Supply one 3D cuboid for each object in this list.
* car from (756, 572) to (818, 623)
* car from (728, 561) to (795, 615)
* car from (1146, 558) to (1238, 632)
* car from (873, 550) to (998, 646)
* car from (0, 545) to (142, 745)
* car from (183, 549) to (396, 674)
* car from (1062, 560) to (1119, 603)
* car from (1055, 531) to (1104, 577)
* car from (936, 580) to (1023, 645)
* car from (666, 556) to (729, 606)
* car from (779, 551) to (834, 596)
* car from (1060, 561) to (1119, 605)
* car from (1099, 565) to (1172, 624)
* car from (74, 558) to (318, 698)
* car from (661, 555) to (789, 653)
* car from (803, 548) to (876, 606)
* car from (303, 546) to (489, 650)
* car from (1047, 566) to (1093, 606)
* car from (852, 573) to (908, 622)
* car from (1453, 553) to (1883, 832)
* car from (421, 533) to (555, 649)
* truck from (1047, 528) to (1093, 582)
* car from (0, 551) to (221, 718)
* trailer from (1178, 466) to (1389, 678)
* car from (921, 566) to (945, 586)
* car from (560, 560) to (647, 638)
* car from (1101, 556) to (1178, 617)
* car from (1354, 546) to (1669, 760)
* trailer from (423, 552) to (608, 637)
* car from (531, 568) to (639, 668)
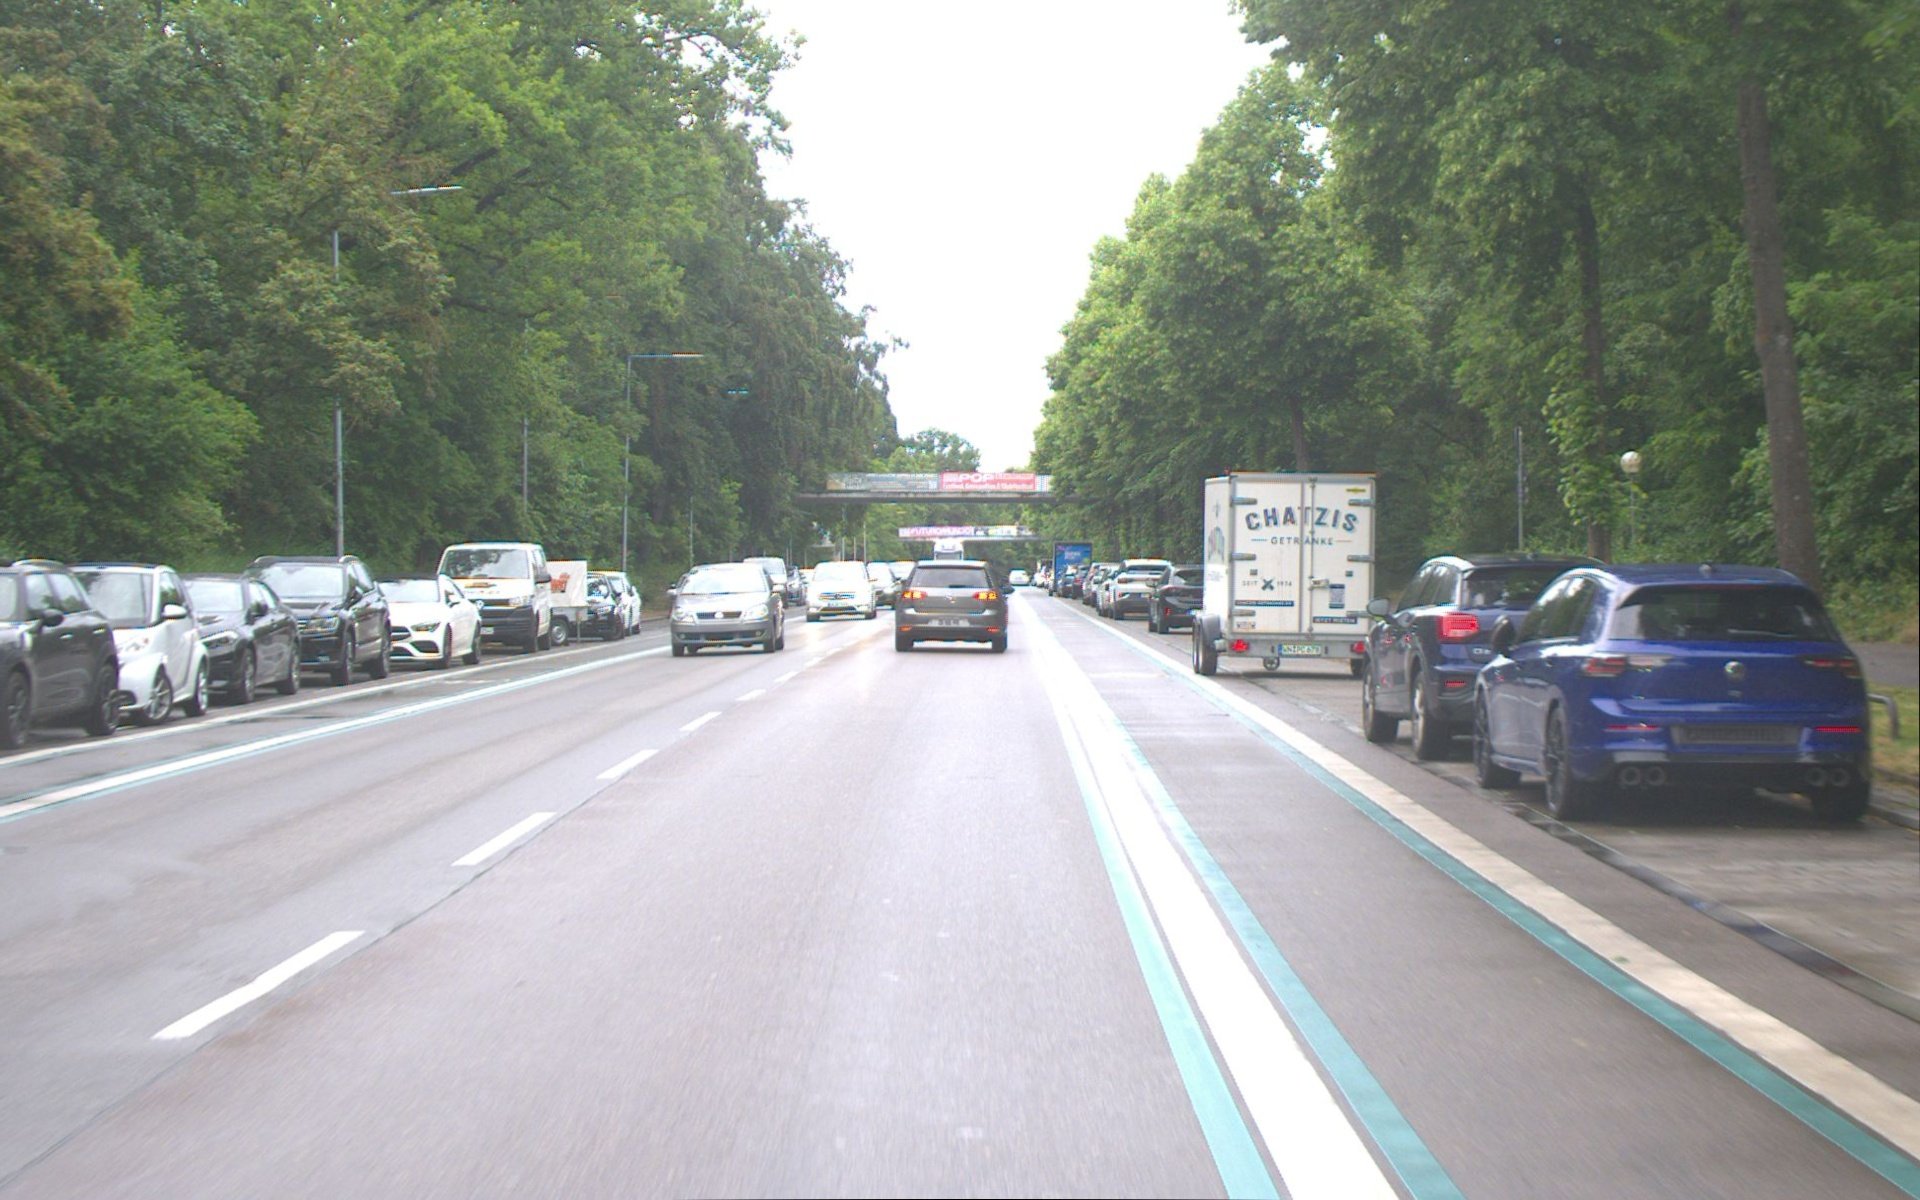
[{"bbox_3d":[-7.002,-0.109,139.822,2.159,2.007,5.031,0,1,1],"label":"car"},{"bbox_3d":[-7.590,-0.478,131.751,2.159,2.007,5.031,0,1,1],"label":"car"},{"bbox_3d":[4.859,-0.127,72.476,1.722,1.520,4.000,0,1,1],"label":"car"},{"bbox_3d":[-0.429,-0.004,55.237,1.871,1.436,4.296,2,-1,-2],"label":"car"},{"bbox_3d":[-8.346,0.325,29.164,1.696,1.578,4.139,0,1,2],"label":"car"},{"bbox_3d":[-8.731,0.119,45.116,1.879,1.556,4.468,0,1,1],"label":"car"},{"bbox_3d":[4.808,-0.705,127.291,1.993,1.557,4.000,0,1,1],"label":"car"},{"bbox_3d":[5.236,-2.006,151.082,1.993,2.007,4.000,0,0,-1],"label":"car"},{"bbox_3d":[0.456,0.283,84.534,1.880,1.461,4.001,2,1,-3],"label":"car"},{"bbox_3d":[-8.154,-0.602,106.991,1.672,1.508,3.630,1,1,0],"label":"car"},{"bbox_3d":[-6.972,-1.215,156.336,2.159,2.007,5.031,0,1,1],"label":"car"},{"bbox_3d":[4.588,-0.619,122.501,1.993,1.557,4.000,0,1,1],"label":"car"},{"bbox_3d":[4.924,-0.172,96.806,1.897,1.601,4.000,0,1,1],"label":"car"},{"bbox_3d":[-8.589,0.272,39.006,1.808,1.483,4.468,0,1,0],"label":"car"},{"bbox_3d":[-3.741,0.040,55.245,1.698,1.480,4.035,-1,1,1],"label":"car"},{"bbox_3d":[-3.212,-0.630,92.208,1.835,1.512,4.000,0,1,0],"label":"car"},{"bbox_3d":[-8.408,-0.049,51.619,1.993,1.483,4.468,0,1,1],"label":"car"},{"bbox_3d":[5.083,-0.659,159.128,1.993,1.766,4.000,-1,0,1],"label":"car"},{"bbox_3d":[-2.650,-0.092,114.346,1.706,1.566,4.000,0,1,1],"label":"car"},{"bbox_3d":[4.156,0.471,20.844,1.682,1.476,4.319,1,1,0],"label":"car"},{"bbox_3d":[-8.460,-0.181,61.997,1.939,2.007,4.740,0,1,-2],"label":"car"},{"bbox_3d":[5.332,-2.168,167.168,2.113,2.590,4.301,0,1,1],"label":"truck"},{"bbox_3d":[-8.288,0.304,33.724,1.461,1.566,2.984,0,1,-1],"label":"car"},{"bbox_3d":[4.042,-0.369,43.709,2.132,2.551,4.298,0,1,-2],"label":"trailer"},{"bbox_3d":[-1.588,-1.421,200.650,1.378,1.127,3.313,0,1,0],"label":"car"},{"bbox_3d":[-8.160,-0.043,78.820,1.576,1.764,3.415,0,1,1],"label":"car"},{"bbox_3d":[4.793,-0.389,92.190,1.897,1.601,4.000,0,1,1],"label":"car"},{"bbox_3d":[4.143,0.353,26.376,1.713,1.507,3.976,0,1,-1],"label":"car"},{"bbox_3d":[-8.638,-0.132,67.023,1.628,1.623,3.666,0,1,32],"label":"trailer"},{"bbox_3d":[-7.853,0.341,72.348,1.939,2.007,4.740,0,1,-2],"label":"car"}]
